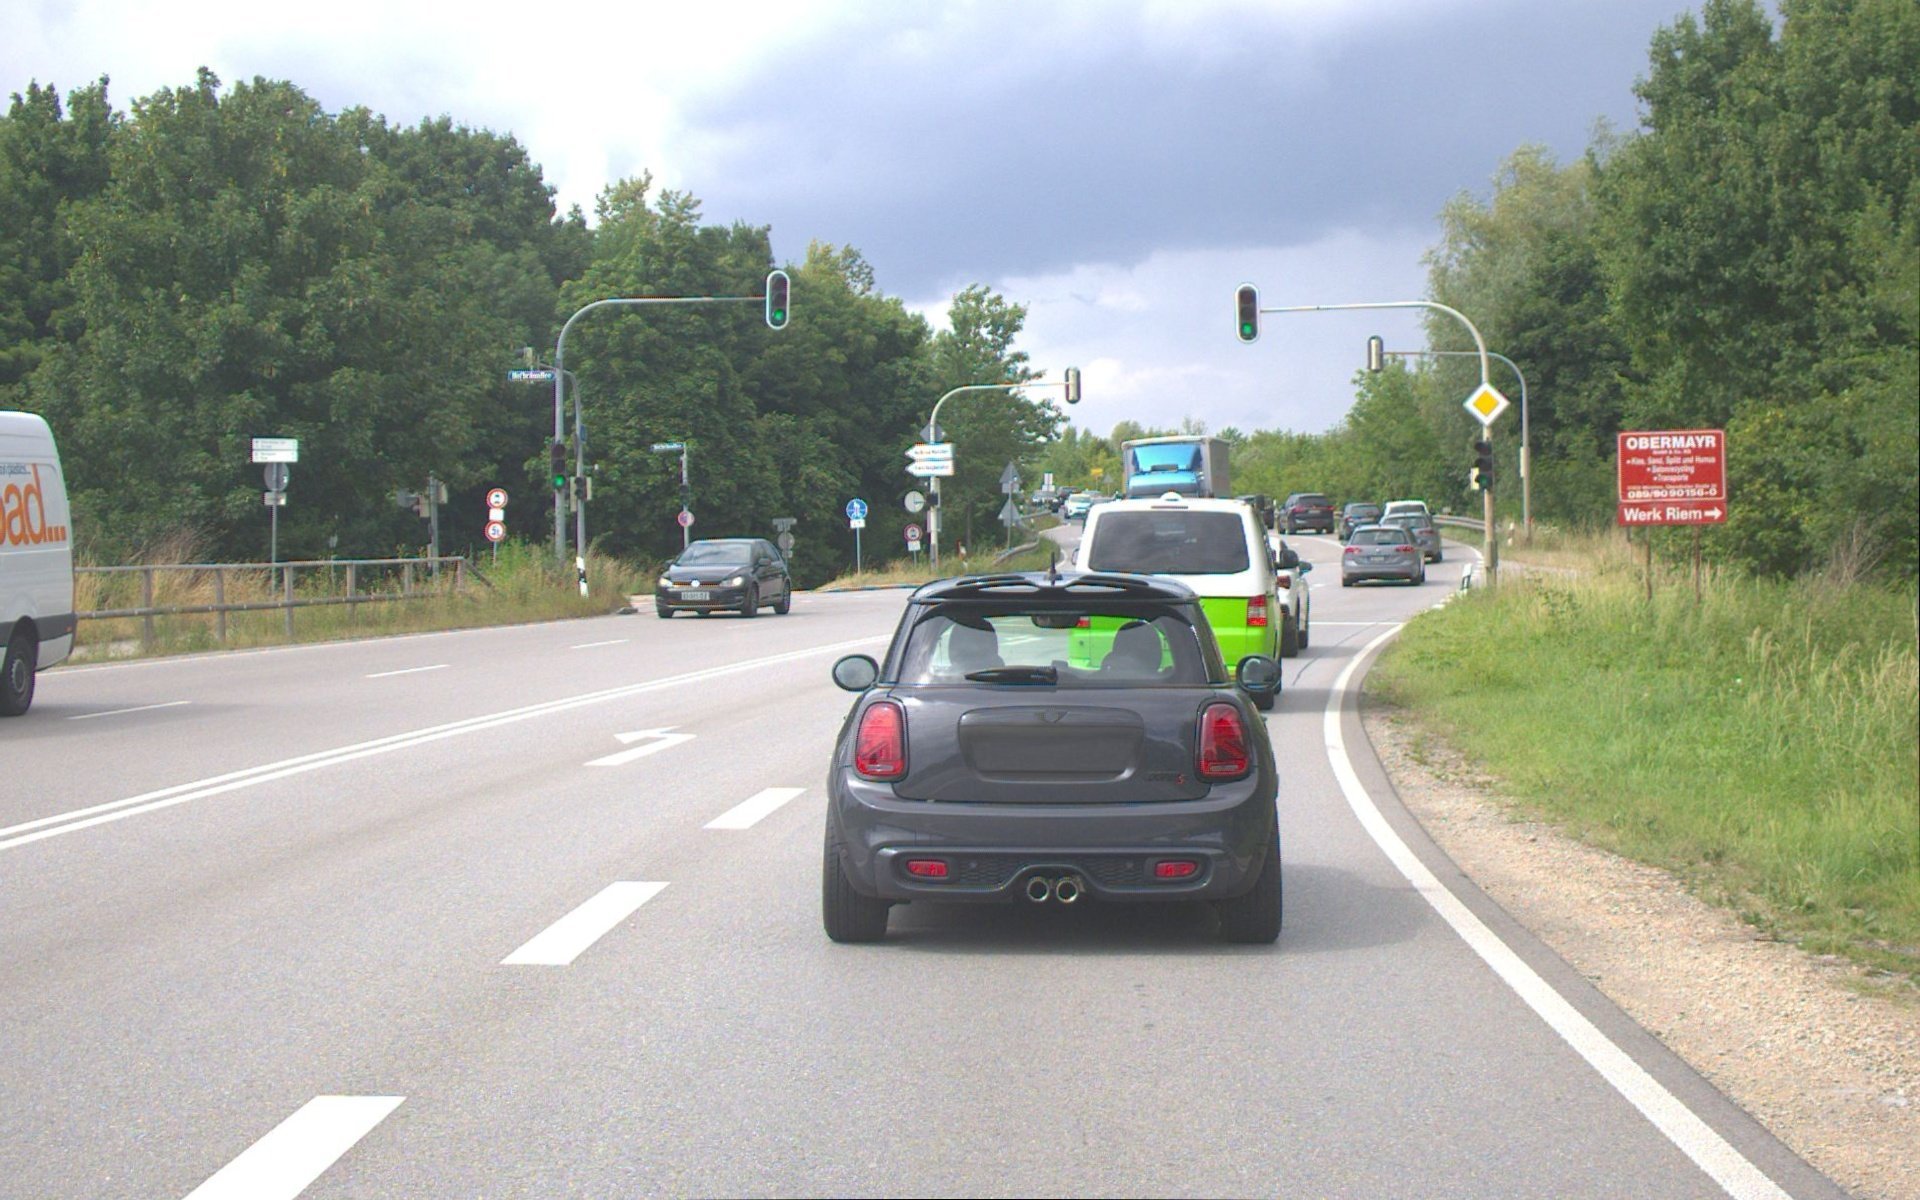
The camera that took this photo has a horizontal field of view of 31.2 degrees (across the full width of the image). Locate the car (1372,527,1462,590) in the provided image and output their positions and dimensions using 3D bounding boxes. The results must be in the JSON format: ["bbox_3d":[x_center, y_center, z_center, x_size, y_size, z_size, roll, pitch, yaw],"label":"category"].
[{"bbox_3d":[13.023,-1.168,97.766,1.995,1.678,3.974,1,0,15],"label":"car"}]

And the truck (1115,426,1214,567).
[{"bbox_3d":[6.069,-3.032,101.610,2.541,4.082,3.999,0,1,9],"label":"truck"}]

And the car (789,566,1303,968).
[{"bbox_3d":[0.299,0.584,14.310,1.845,1.423,3.841,0,1,0],"label":"car"}]

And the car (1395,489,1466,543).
[{"bbox_3d":[15.932,-2.826,116.291,1.995,1.678,3.997,1,0,13],"label":"car"}]

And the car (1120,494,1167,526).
[{"bbox_3d":[10.657,-5.224,199.791,1.993,1.781,4.487,-1,1,-6],"label":"car"}]

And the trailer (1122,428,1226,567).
[{"bbox_3d":[6.569,-3.099,104.726,2.528,4.087,6.733,0,1,9],"label":"trailer"}]

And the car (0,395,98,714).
[{"bbox_3d":[-9.314,-0.371,27.831,2.434,2.665,6.887,0,1,5],"label":"car"}]

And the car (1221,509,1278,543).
[{"bbox_3d":[14.332,-3.656,170.279,1.993,1.690,4.487,0,1,-6],"label":"car"}]

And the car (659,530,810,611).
[{"bbox_3d":[-4.100,-0.551,62.998,1.946,1.436,3.999,0,1,9],"label":"car"}]

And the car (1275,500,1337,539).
[{"bbox_3d":[15.363,-3.569,152.857,1.993,1.690,4.486,0,1,-4],"label":"car"}]

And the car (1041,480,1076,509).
[{"bbox_3d":[7.489,-8.000,261.147,1.993,2.007,4.001,0,0,-9],"label":"car"}]

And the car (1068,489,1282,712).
[{"bbox_3d":[2.086,-0.055,32.515,1.845,1.980,3.840,0,2,6],"label":"car"}]

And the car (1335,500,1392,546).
[{"bbox_3d":[16.051,-3.038,136.855,1.994,1.678,3.999,1,0,4],"label":"car"}]

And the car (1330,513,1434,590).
[{"bbox_3d":[9.932,-1.117,80.681,1.995,1.678,3.997,1,0,13],"label":"car"}]

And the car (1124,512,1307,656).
[{"bbox_3d":[3.199,-0.193,42.435,1.994,1.678,3.999,0,0,8],"label":"car"}]
